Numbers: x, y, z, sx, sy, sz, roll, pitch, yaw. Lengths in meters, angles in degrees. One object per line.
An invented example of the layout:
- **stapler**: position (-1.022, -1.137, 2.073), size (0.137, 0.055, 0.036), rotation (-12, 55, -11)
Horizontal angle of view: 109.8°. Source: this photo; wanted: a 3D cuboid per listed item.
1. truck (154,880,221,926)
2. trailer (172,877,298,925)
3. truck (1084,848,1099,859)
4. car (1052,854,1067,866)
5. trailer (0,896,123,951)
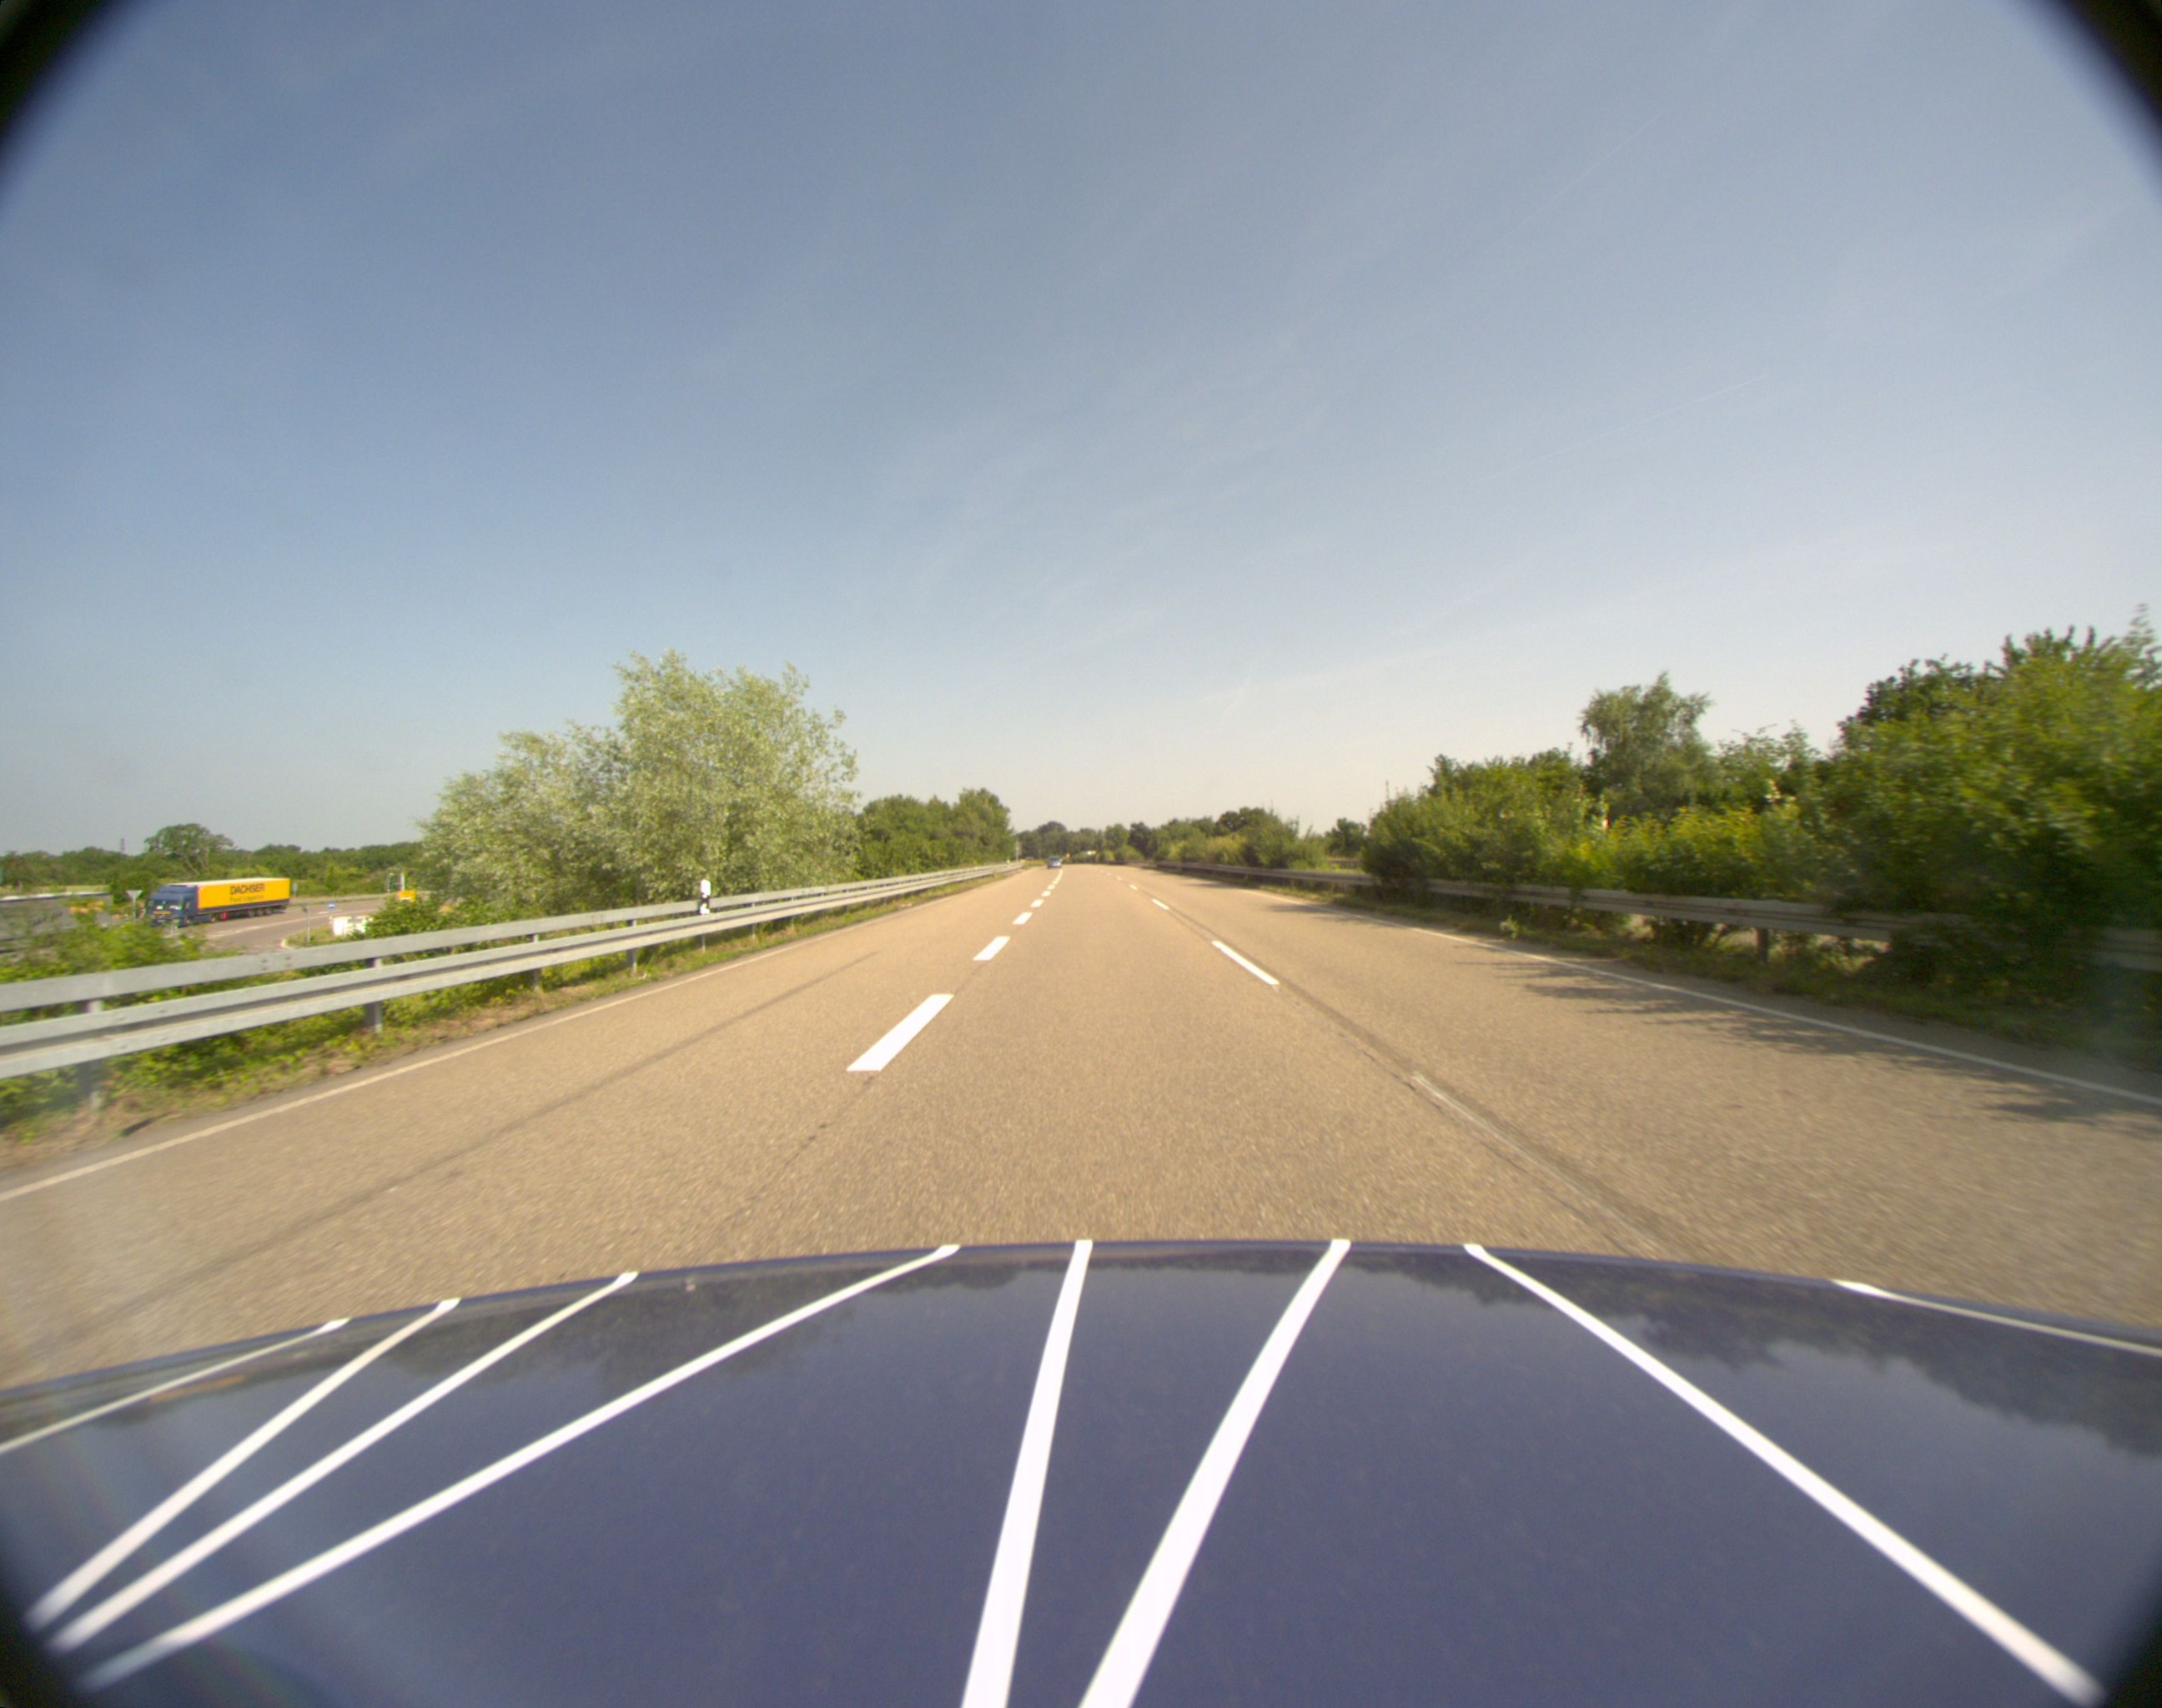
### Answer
- **truck**: position (-86.855, 4.743, 73.977), size (2.264, 4.145, 4.364), rotation (-1, 0, -20)
- **trailer**: position (-89.180, 4.765, 80.648), size (2.264, 4.145, 14.400), rotation (-1, 0, -19)
- **truck**: position (3.075, -0.175, 234.065), size (2.877, 3.258, 14.109), rotation (-2, 1, -6)
- **car**: position (-2.743, 0.748, 96.130), size (1.703, 1.474, 3.599), rotation (-3, -1, -3)
- **trailer**: position (-80.045, 5.279, 57.409), size (2.110, 3.631, 13.910), rotation (-1, 0, -18)
